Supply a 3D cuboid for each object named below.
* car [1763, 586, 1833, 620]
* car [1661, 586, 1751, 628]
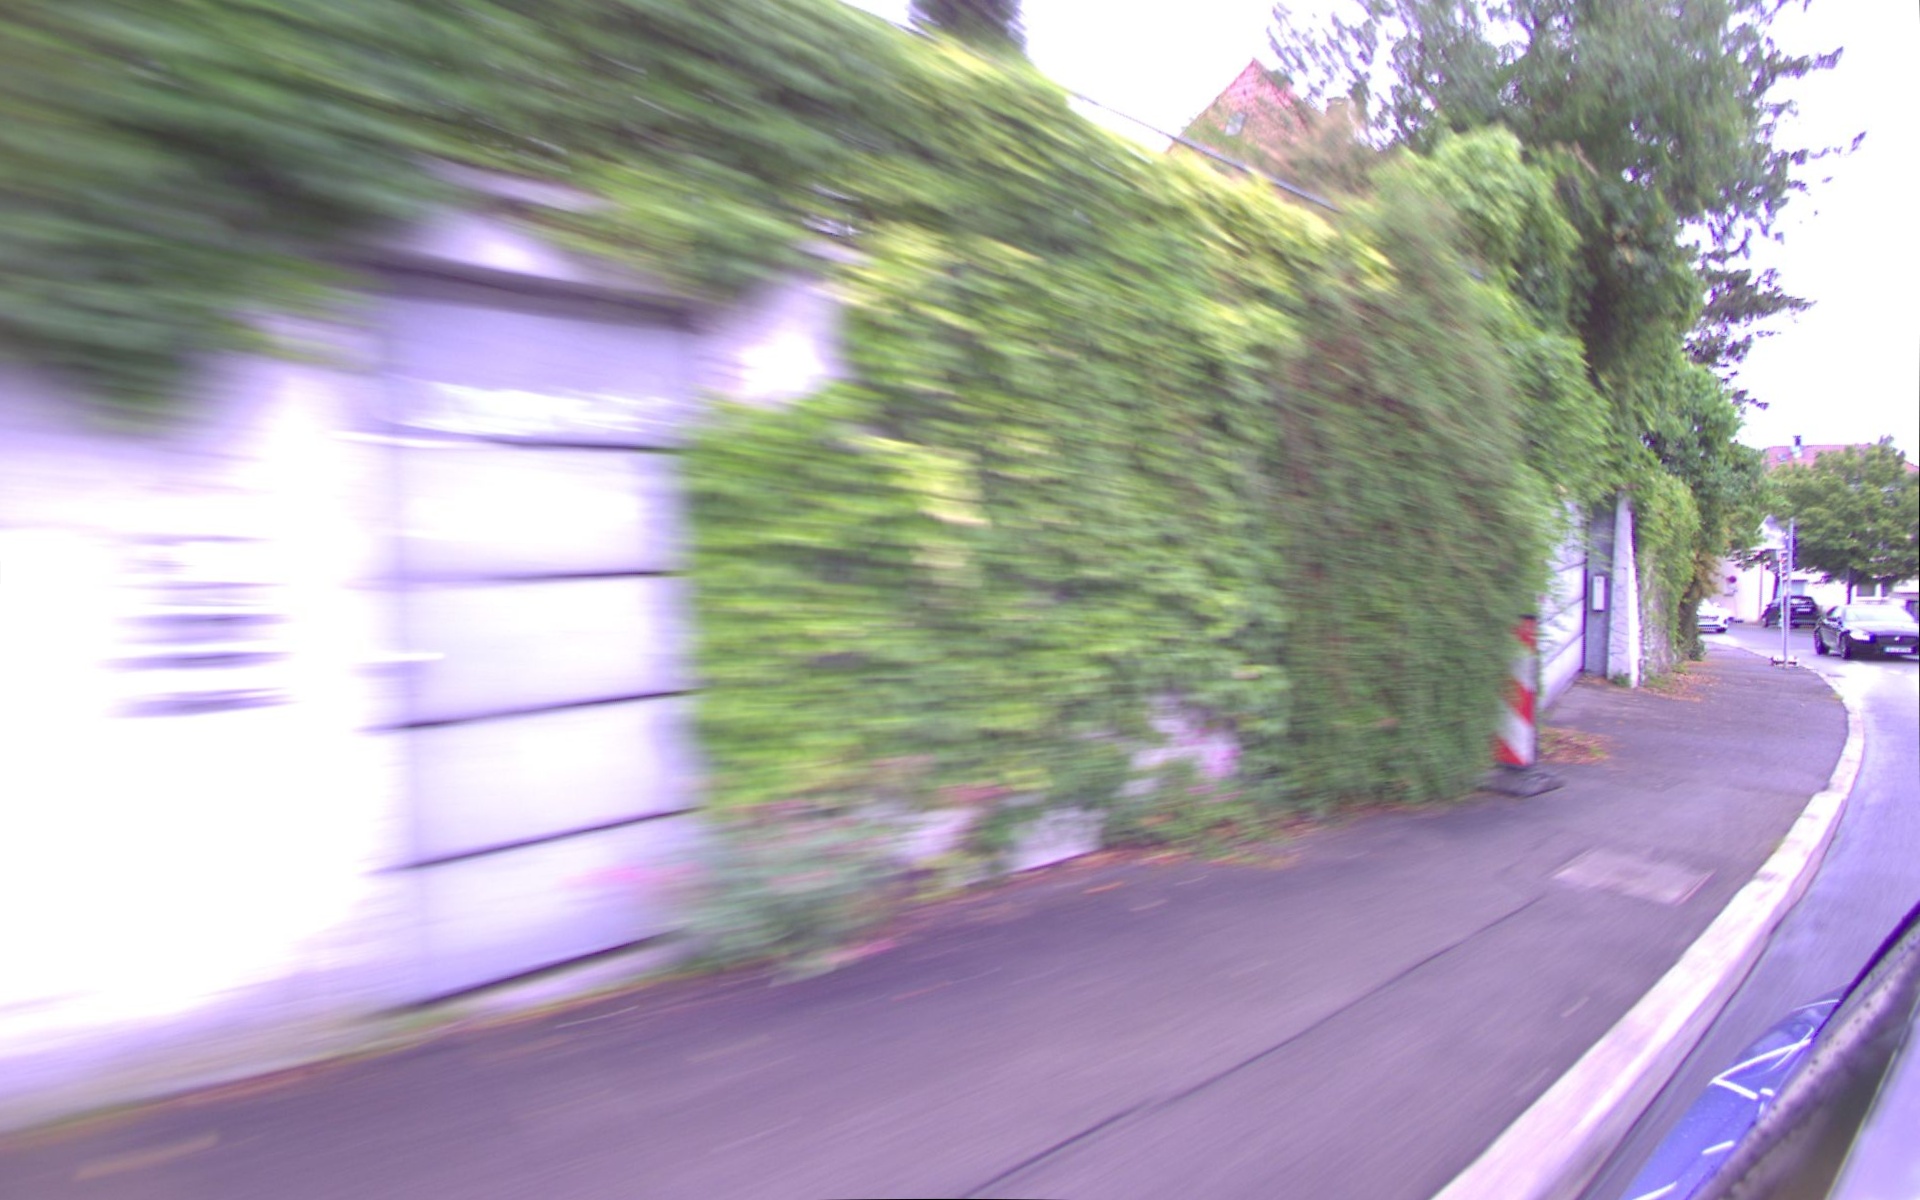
[{"bbox_3d":[40.117,0.132,48.518,1.502,1.554,3.020,2,1,17],"label":"car"},{"bbox_3d":[32.633,0.268,44.416,1.995,1.760,4.566,-1,1,21],"label":"car"}]
